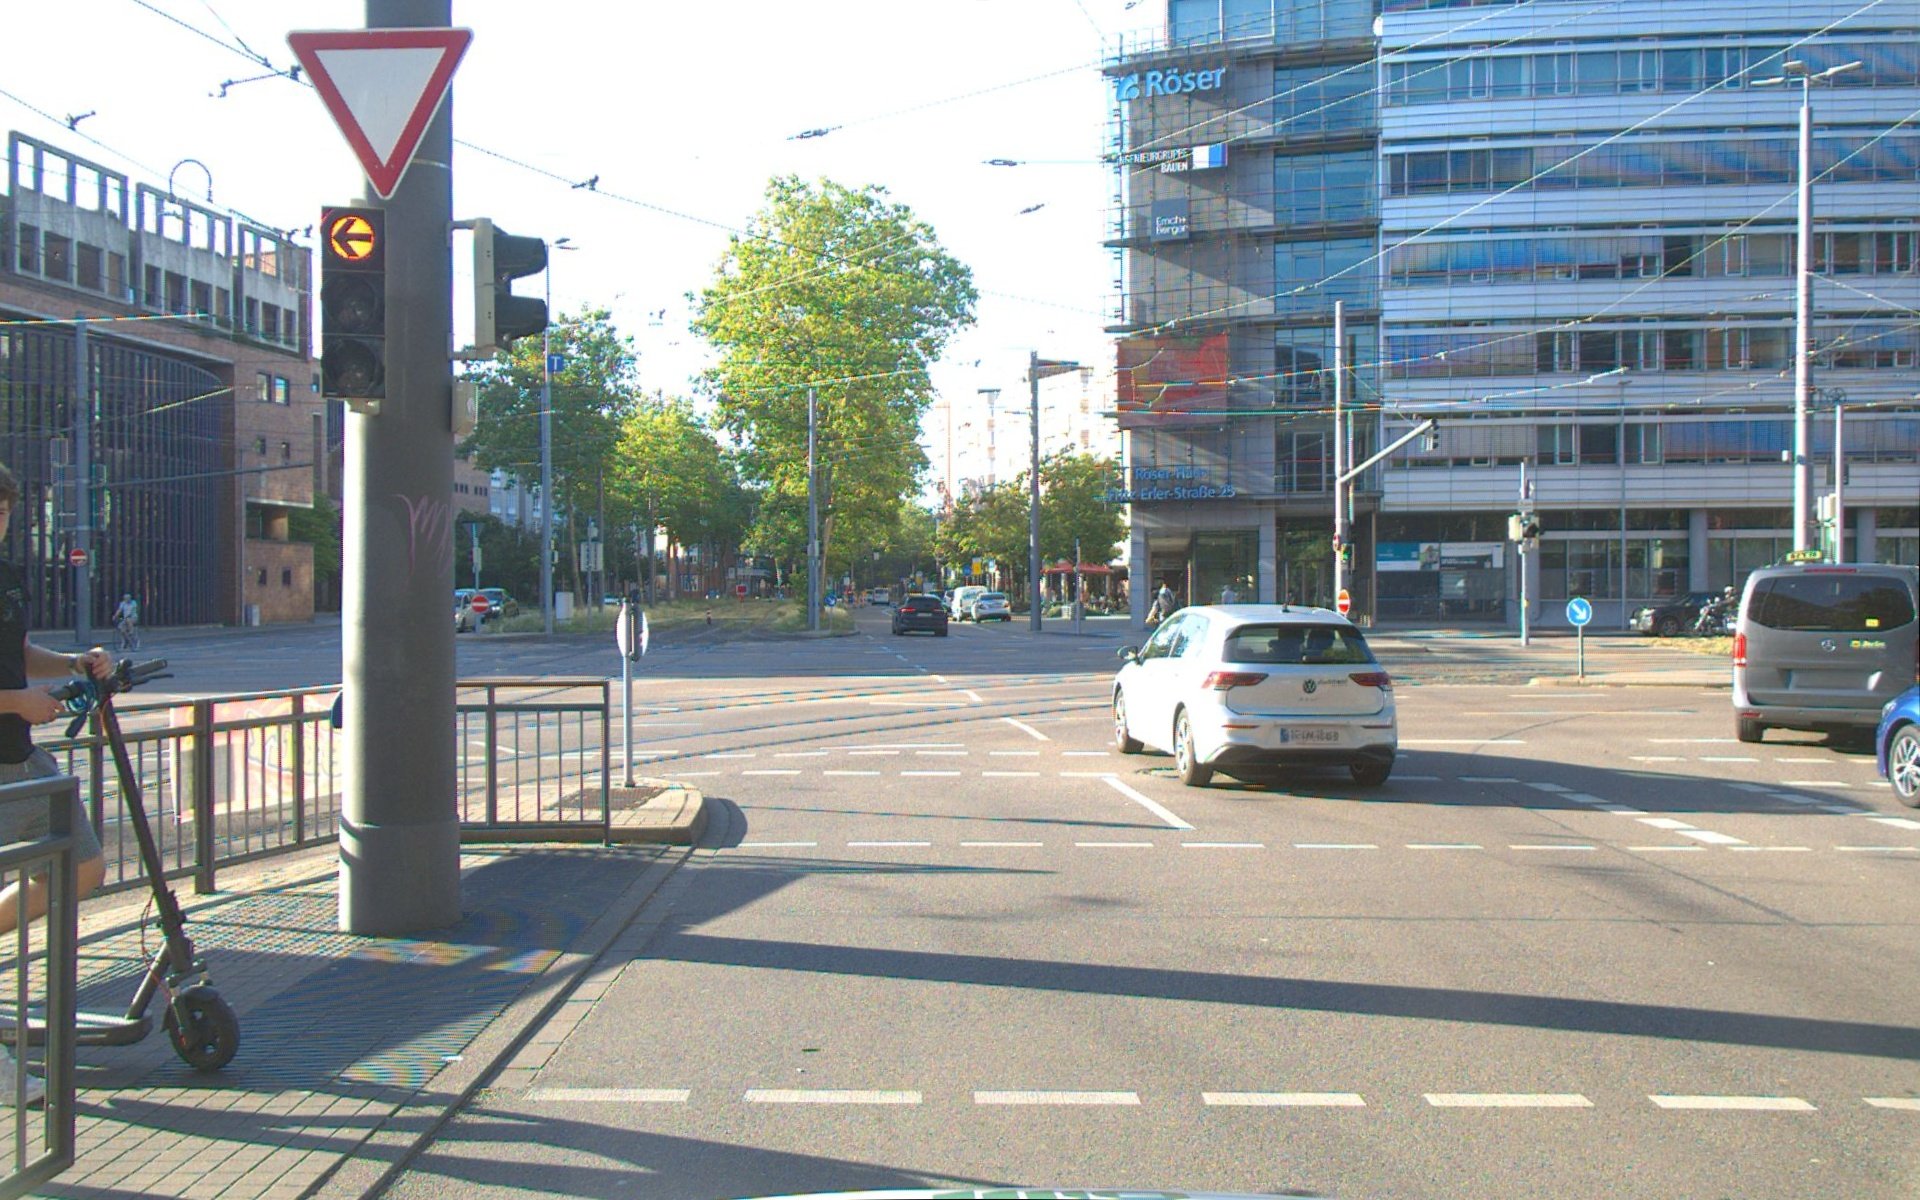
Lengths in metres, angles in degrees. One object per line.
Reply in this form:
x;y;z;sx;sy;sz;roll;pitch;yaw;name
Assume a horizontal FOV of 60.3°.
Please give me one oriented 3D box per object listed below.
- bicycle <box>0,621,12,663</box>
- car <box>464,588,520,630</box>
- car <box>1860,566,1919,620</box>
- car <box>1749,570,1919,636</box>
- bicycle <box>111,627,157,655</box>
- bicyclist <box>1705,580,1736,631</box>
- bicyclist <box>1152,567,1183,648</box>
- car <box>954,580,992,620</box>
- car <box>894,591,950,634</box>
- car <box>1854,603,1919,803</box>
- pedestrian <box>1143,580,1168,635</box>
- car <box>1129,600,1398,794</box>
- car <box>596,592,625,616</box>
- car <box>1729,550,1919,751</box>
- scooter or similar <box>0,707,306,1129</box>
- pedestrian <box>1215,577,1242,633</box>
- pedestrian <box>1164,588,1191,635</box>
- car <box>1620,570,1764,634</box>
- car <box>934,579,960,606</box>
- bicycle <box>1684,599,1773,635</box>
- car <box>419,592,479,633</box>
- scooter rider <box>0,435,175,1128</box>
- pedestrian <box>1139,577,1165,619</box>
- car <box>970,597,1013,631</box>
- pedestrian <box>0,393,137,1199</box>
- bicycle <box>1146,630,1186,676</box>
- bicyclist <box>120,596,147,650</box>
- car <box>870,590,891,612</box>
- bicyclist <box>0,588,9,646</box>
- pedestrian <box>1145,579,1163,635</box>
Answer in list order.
-25.137;1.086;42.414;0.639;1.068;2.010;0;0;-6;bicycle
-21.052;0.400;74.559;1.787;1.821;3.994;-1;0;-7;car
29.466;-0.192;49.630;3.903;1.579;1.798;1;0;4;car
24.639;0.069;46.343;4.165;1.753;1.885;-1;0;2;car
-25.409;1.251;50.907;0.578;0.784;1.966;-1;0;-5;bicycle
22.900;0.154;49.817;0.649;1.529;0.613;-1;0;4;bicyclist
3.829;0.135;30.586;0.477;1.464;0.615;1;0;-1;bicyclist
0.687;0.007;89.632;1.953;2.049;3.999;1;0;-1;car
-1.352;0.406;57.839;1.729;1.429;4.292;0;0;-5;car
7.989;0.782;11.120;1.712;1.485;4.212;0;0;0;car
7.307;0.281;61.812;0.832;2.049;0.707;1;-1;-2;pedestrian
2.530;0.741;14.672;1.712;1.443;4.001;0;0;1;car
-24.872;0.263;117.815;1.644;1.635;3.994;1;0;-7;car
9.687;0.463;18.341;1.962;1.929;4.877;0;0;27;car
-2.642;0.890;4.841;1.177;1.100;0.648;-1;0;3;scooter or similar
9.959;0.192;61.371;0.852;2.049;0.793;1;-1;-1;pedestrian
8.137;0.443;61.912;0.852;1.737;0.793;1;-1;-1;pedestrian
24.376;0.069;55.140;3.906;2.049;2.000;1;0;-1;car
-1.008;-0.570;126.866;1.953;2.049;3.999;1;0;-1;car
23.130;0.504;49.786;2.359;1.040;0.637;-1;0;4;bicycle
-20.661;0.481;66.982;1.591;1.604;3.994;-1;0;-7;car
-2.765;0.500;4.865;0.554;1.885;0.680;-1;-2;4;scooter rider
10.270;-0.120;88.552;1.285;2.228;1.171;1;-1;5;pedestrian
1.536;0.695;82.815;1.988;1.624;3.999;1;0;-1;car
-2.842;0.473;4.089;1.143;1.917;0.854;-1;0;4;pedestrian
3.815;0.974;30.792;0.481;0.802;1.861;1;0;-1;bicycle
-25.412;0.698;50.837;0.575;1.654;0.514;-1;0;-6;bicyclist
-8.517;0.098;177.927;1.952;2.049;3.999;1;-5;0;car
-25.164;0.432;42.718;0.640;1.500;1.031;0;0;-6;bicyclist
7.231;0.265;61.588;0.574;2.049;0.620;1;-1;0;pedestrian
